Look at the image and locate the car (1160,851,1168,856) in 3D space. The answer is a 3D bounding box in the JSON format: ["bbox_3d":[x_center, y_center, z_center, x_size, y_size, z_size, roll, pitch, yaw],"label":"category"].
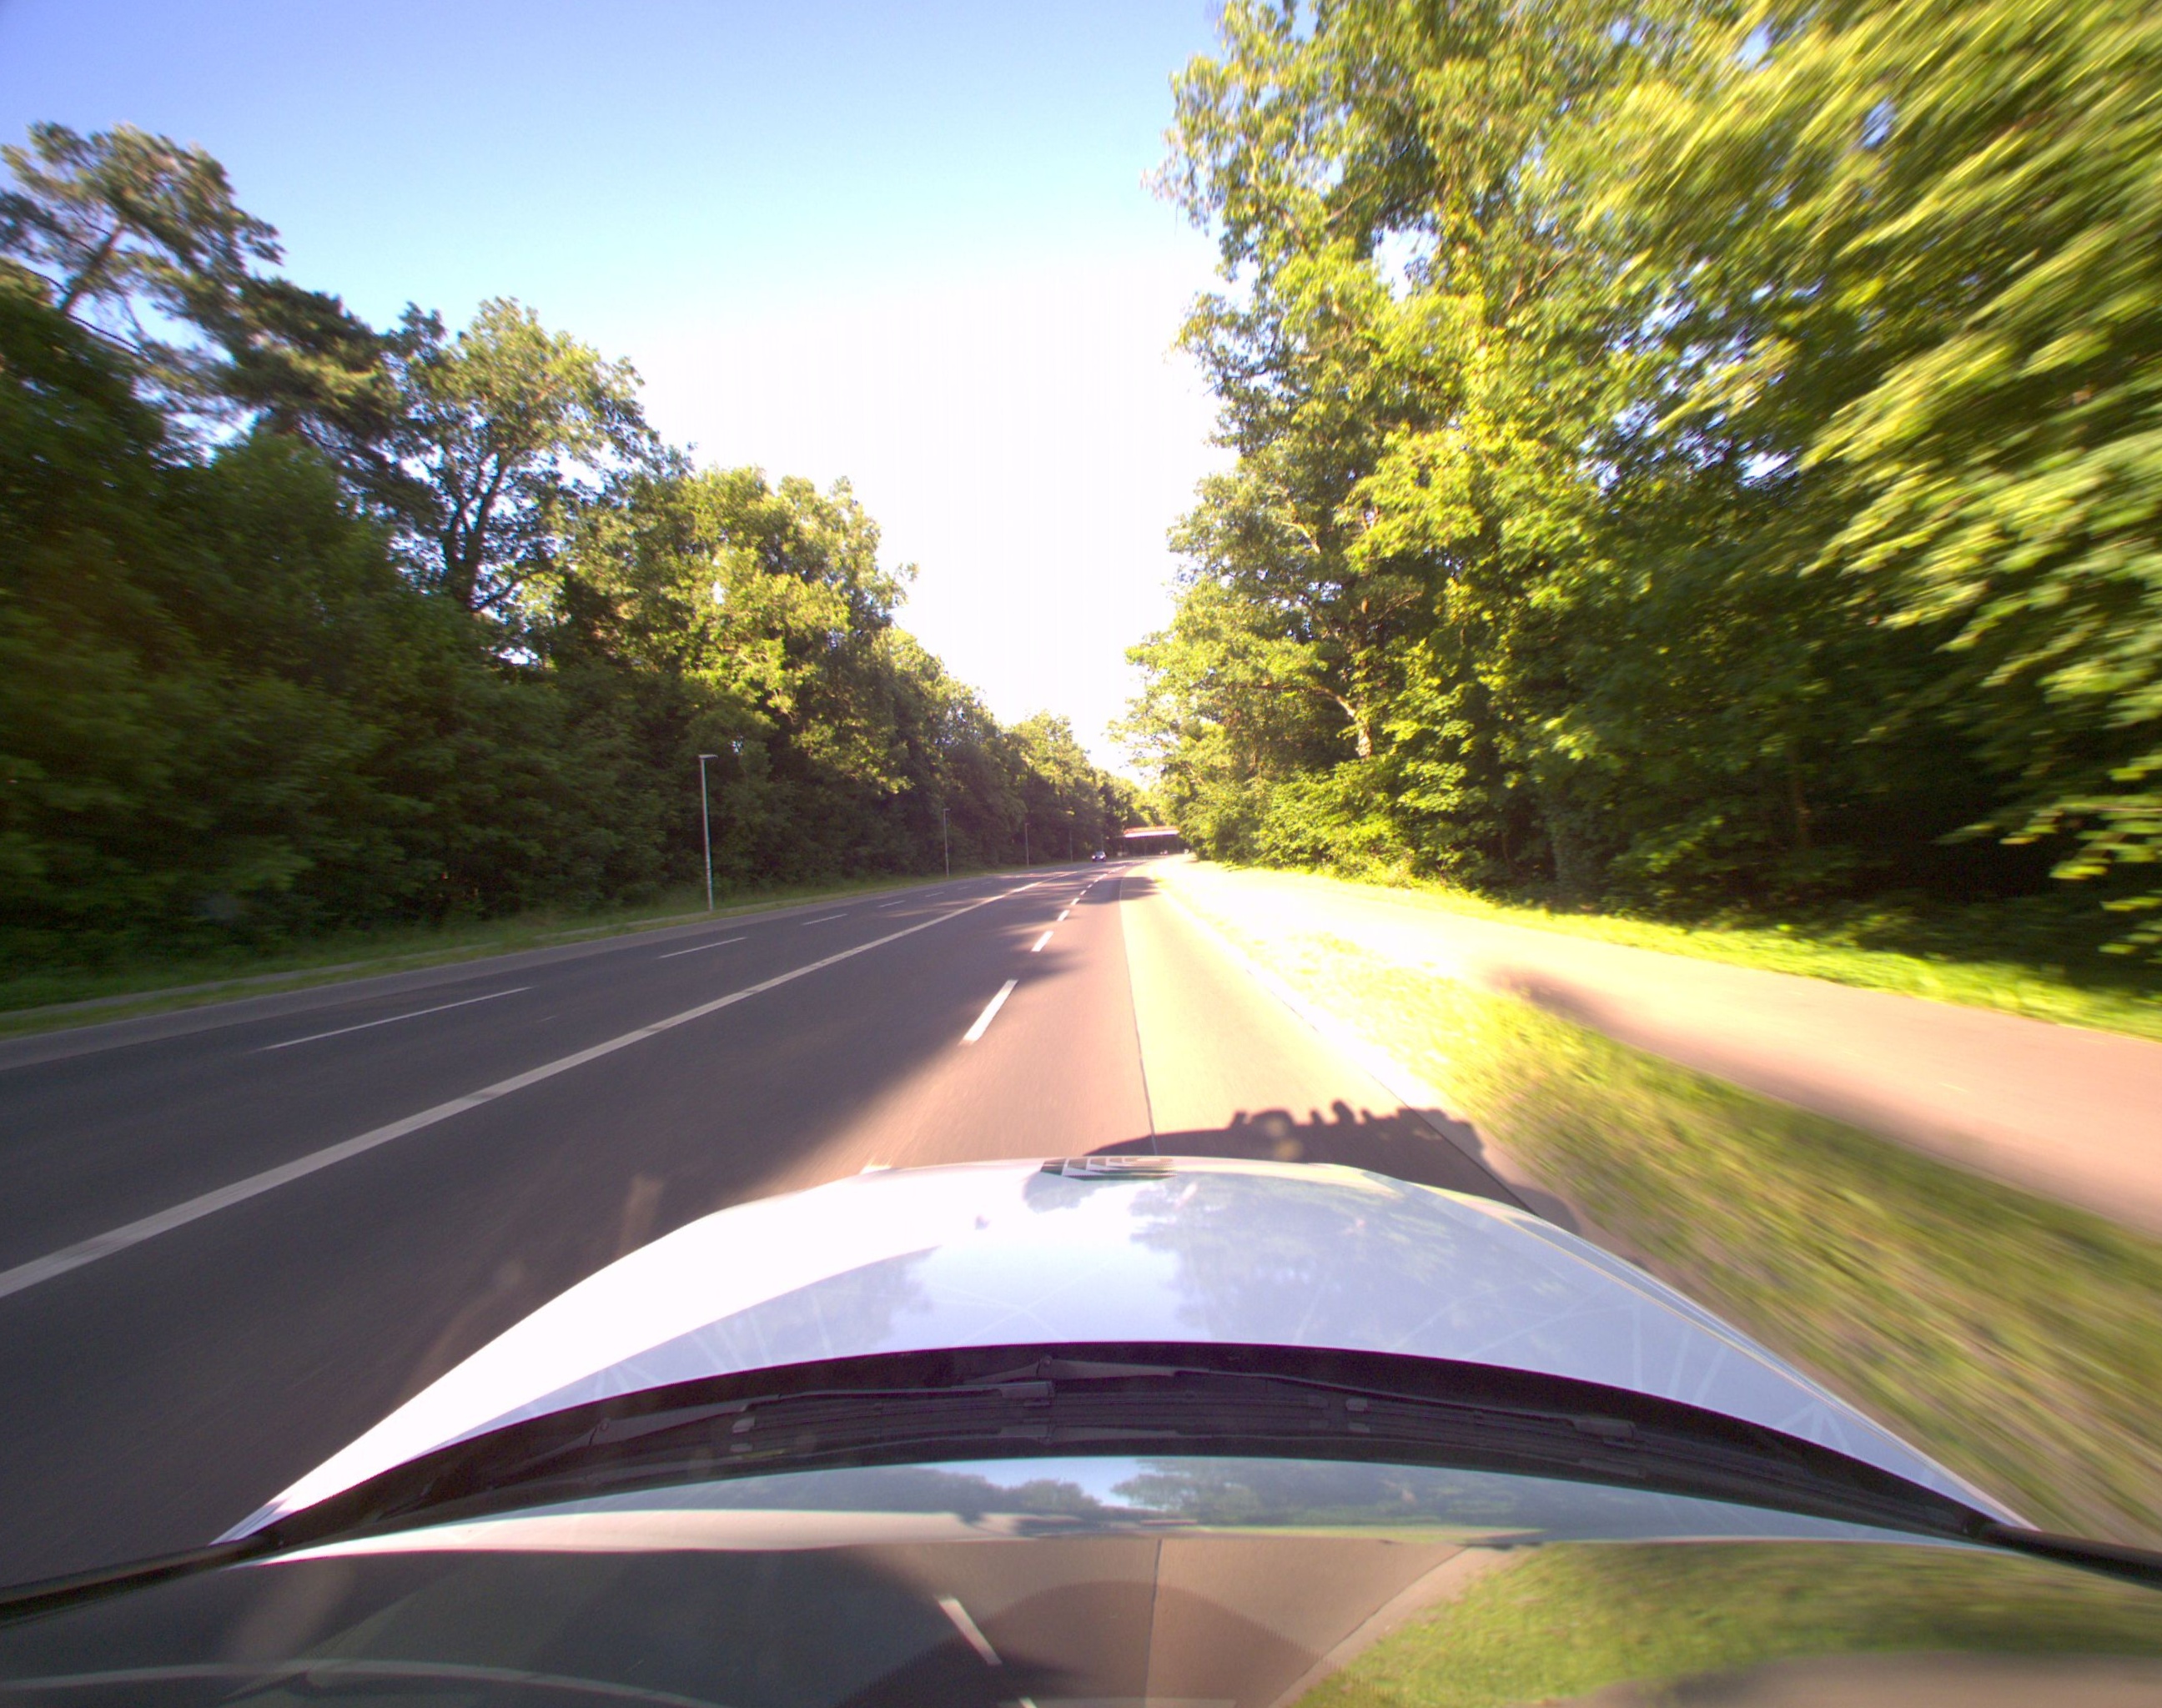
[{"bbox_3d":[24.281,-0.050,238.889,1.697,1.423,4.147,-2,0,15],"label":"car"}]

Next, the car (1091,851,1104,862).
[{"bbox_3d":[2.594,0.336,128.672,1.800,1.663,4.526,-2,0,3],"label":"car"}]
